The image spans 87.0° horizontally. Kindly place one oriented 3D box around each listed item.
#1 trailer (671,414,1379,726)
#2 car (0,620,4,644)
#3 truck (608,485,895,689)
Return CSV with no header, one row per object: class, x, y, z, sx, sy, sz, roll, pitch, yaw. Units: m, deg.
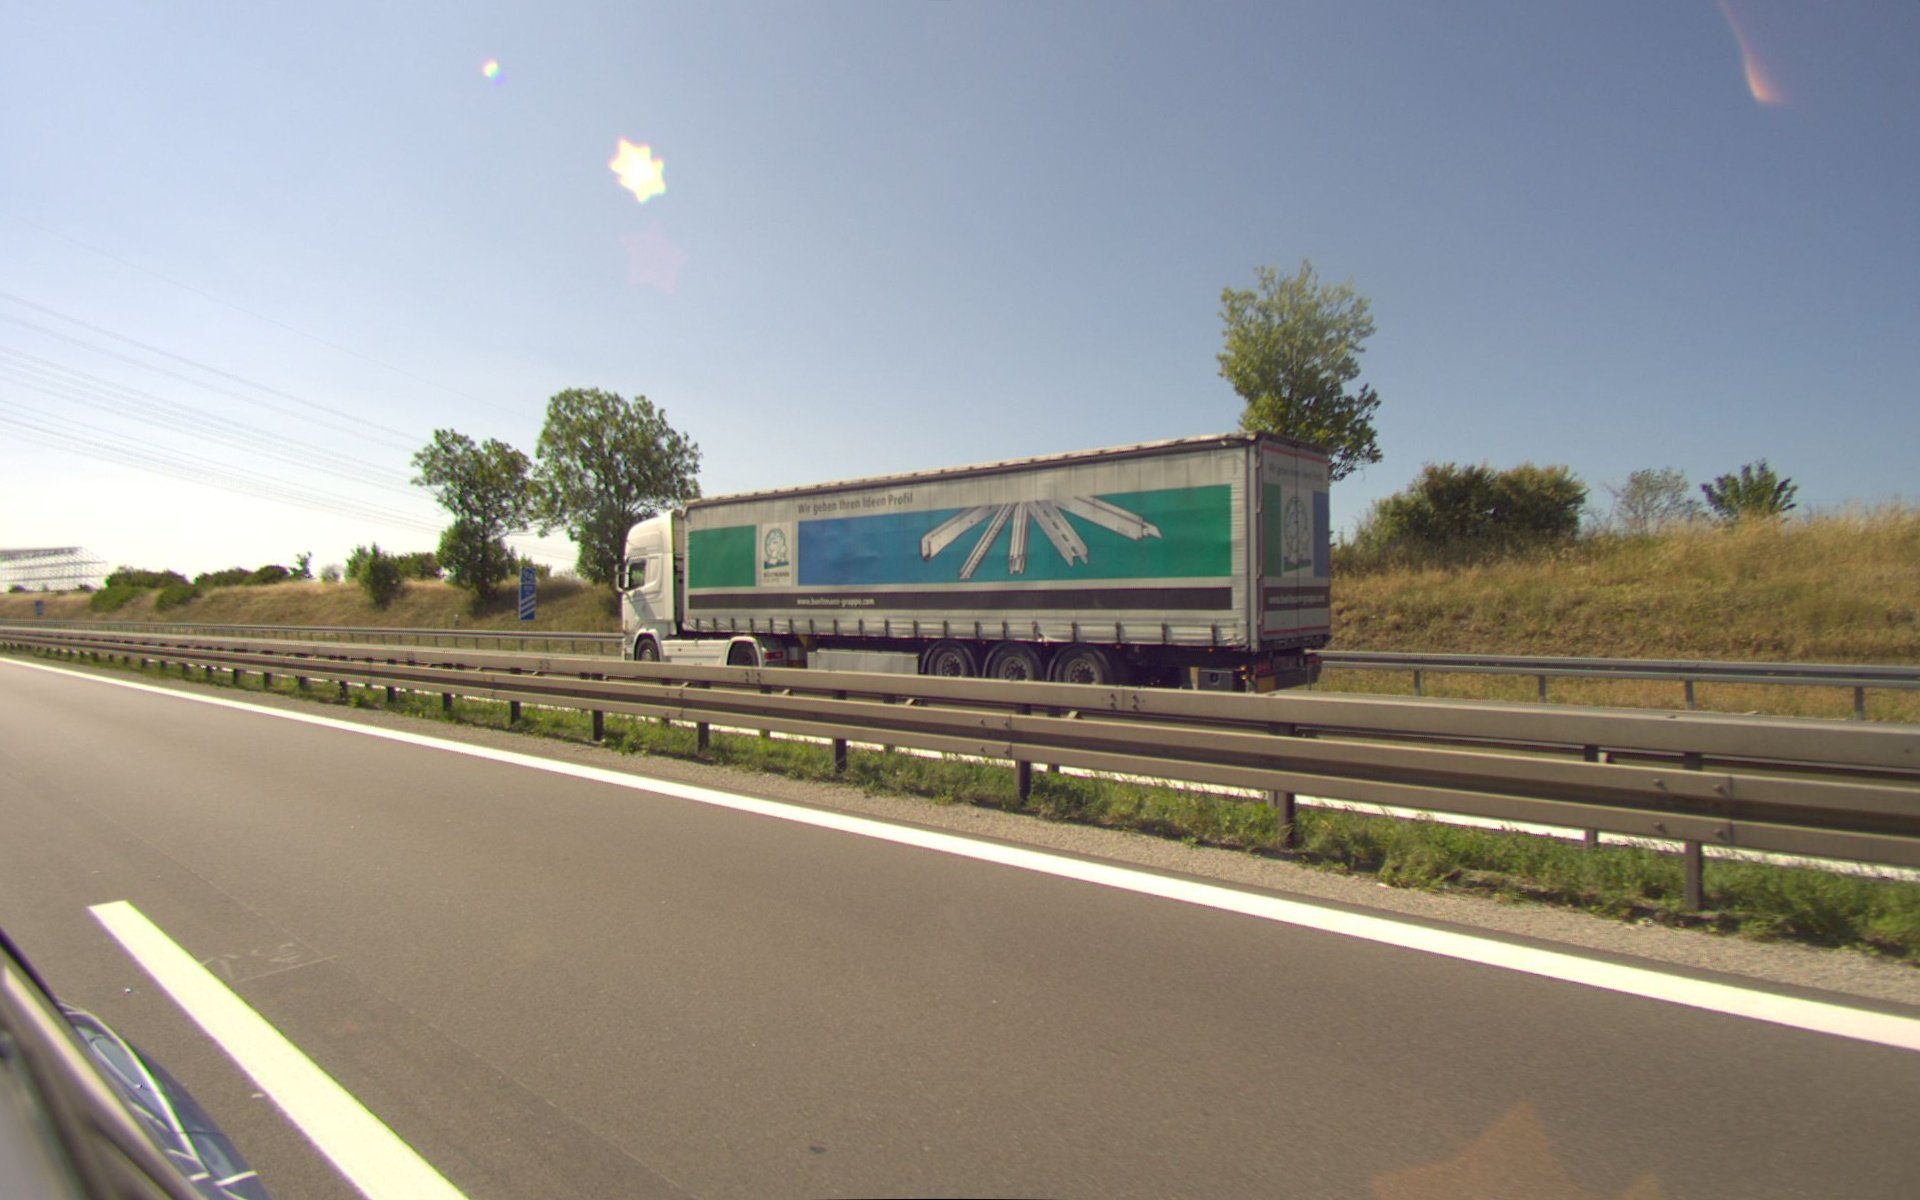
trailer,0.070,-0.278,19.029,14.041,4.029,3.576,-1,-1,41
car,-68.816,2.254,71.143,3.998,1.677,1.973,-1,-1,41
truck,-4.931,-0.208,23.428,6.121,4.029,3.577,-1,-1,41
